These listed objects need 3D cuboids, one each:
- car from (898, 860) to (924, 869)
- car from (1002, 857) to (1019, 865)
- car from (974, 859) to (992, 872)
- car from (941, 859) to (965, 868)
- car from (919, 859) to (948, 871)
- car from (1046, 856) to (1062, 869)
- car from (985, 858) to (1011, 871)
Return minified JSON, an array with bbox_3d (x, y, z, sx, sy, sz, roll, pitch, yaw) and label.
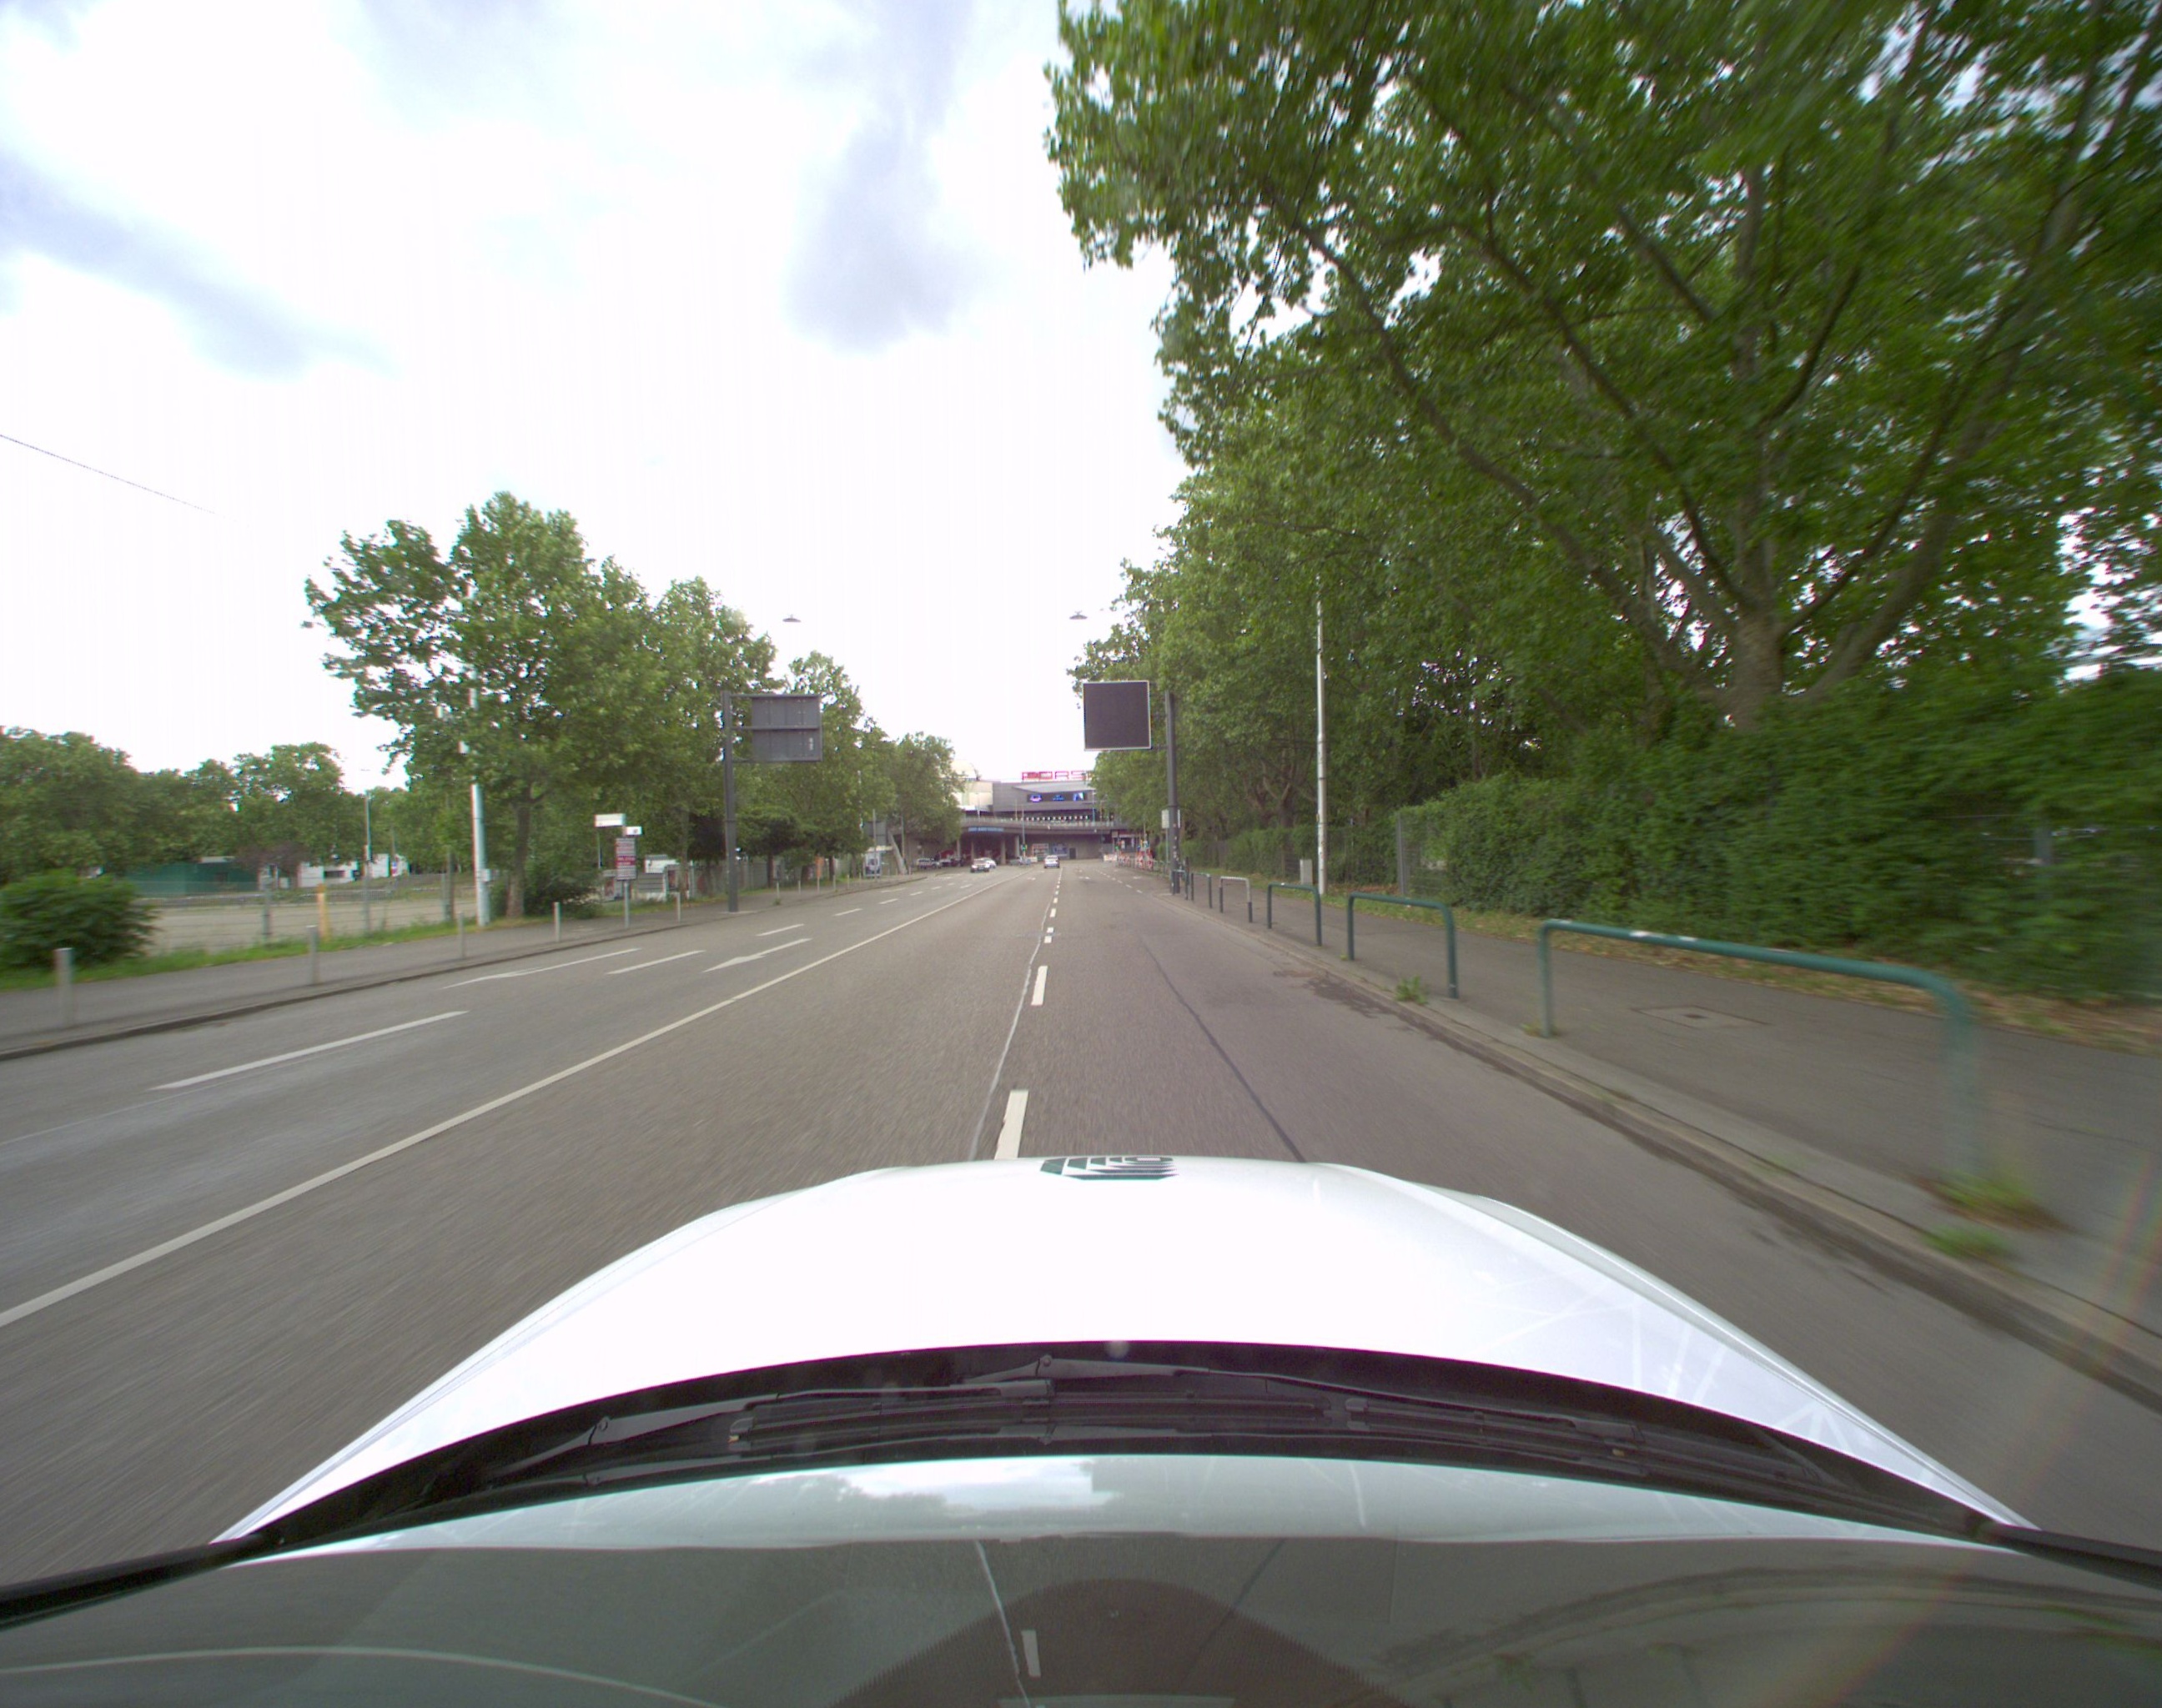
[{"bbox_3d":[-26.770,1.647,128.237,3.607,1.373,1.760,-2,0,23],"label":"car"},{"bbox_3d":[-10.896,1.088,126.016,1.421,1.113,3.006,0,0,-34],"label":"car"},{"bbox_3d":[-10.447,1.237,86.911,1.653,1.272,3.579,0,0,-4],"label":"car"},{"bbox_3d":[-20.427,1.504,129.883,3.425,1.300,1.593,-2,0,23],"label":"car"},{"bbox_3d":[-21.741,1.620,119.761,3.835,1.473,1.760,-2,0,23],"label":"car"},{"bbox_3d":[-3.219,1.006,97.295,1.773,1.460,3.821,0,0,0],"label":"car"},{"bbox_3d":[-10.931,1.419,107.022,1.632,1.578,3.841,-2,0,-34],"label":"car"}]
